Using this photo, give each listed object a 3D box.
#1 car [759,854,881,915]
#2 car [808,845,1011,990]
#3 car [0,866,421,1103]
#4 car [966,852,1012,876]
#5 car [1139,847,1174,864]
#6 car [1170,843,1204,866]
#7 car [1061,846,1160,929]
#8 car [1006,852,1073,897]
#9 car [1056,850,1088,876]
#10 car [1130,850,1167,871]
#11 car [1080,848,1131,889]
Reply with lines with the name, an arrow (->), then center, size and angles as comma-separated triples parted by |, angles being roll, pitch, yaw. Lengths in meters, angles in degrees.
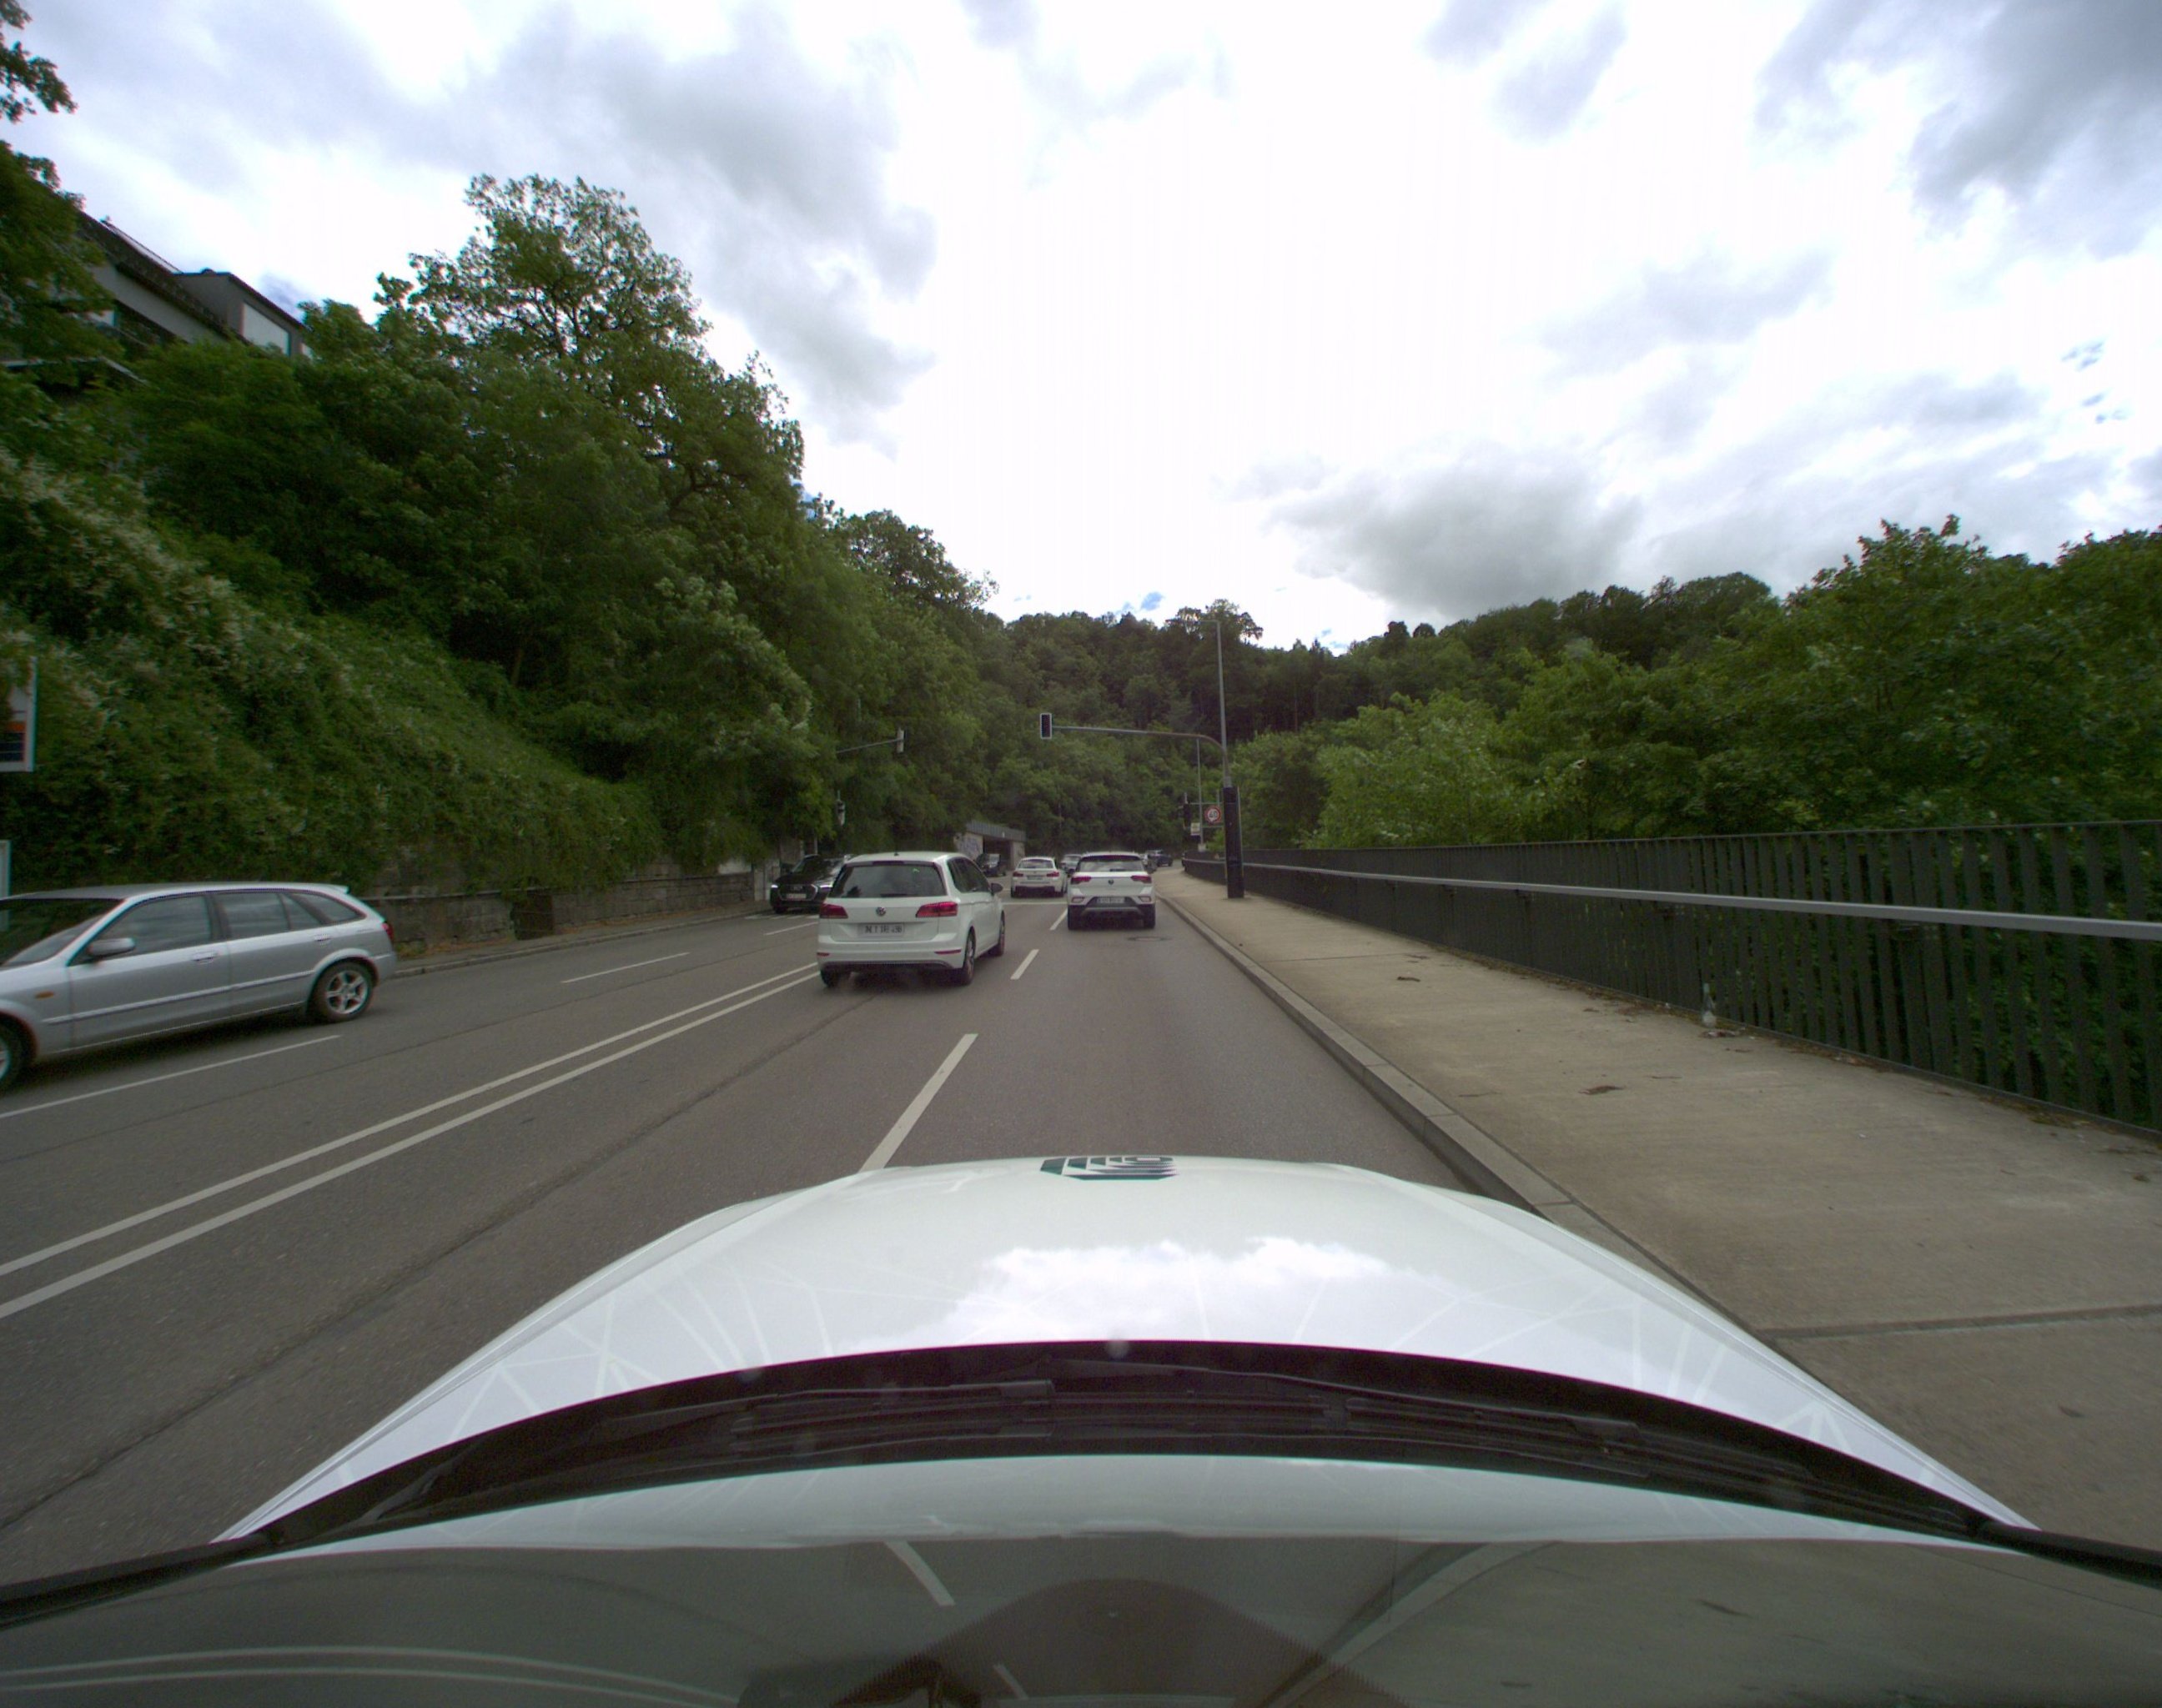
car -> -7.349, 0.810, 23.392 | 1.934, 1.549, 4.251 | -2, 0, 2
car -> -2.041, 0.680, 10.956 | 1.714, 1.554, 4.276 | -1, 0, 1
car -> -7.992, 0.906, 6.640 | 1.670, 1.442, 4.235 | 1, 1, 2
car -> -5.833, 0.616, 52.266 | 1.802, 1.434, 4.260 | 1, 0, 10
car -> 7.006, 0.113, 74.938 | 1.864, 1.519, 4.024 | 0, 0, 27
car -> 10.003, 0.054, 76.422 | 1.975, 2.014, 4.023 | 0, 0, 25
car -> 0.755, 0.653, 17.599 | 1.804, 1.539, 4.015 | -2, 0, 6
car -> -1.454, 0.693, 30.323 | 1.985, 1.557, 4.685 | 0, 0, 3
car -> -0.549, 0.547, 52.757 | 1.855, 1.595, 4.003 | 1, 0, 3
car -> 5.151, 0.501, 61.628 | 2.017, 1.519, 4.217 | 1, 0, 14
car -> 1.234, 0.679, 39.188 | 1.982, 1.843, 4.159 | 1, 0, 8
